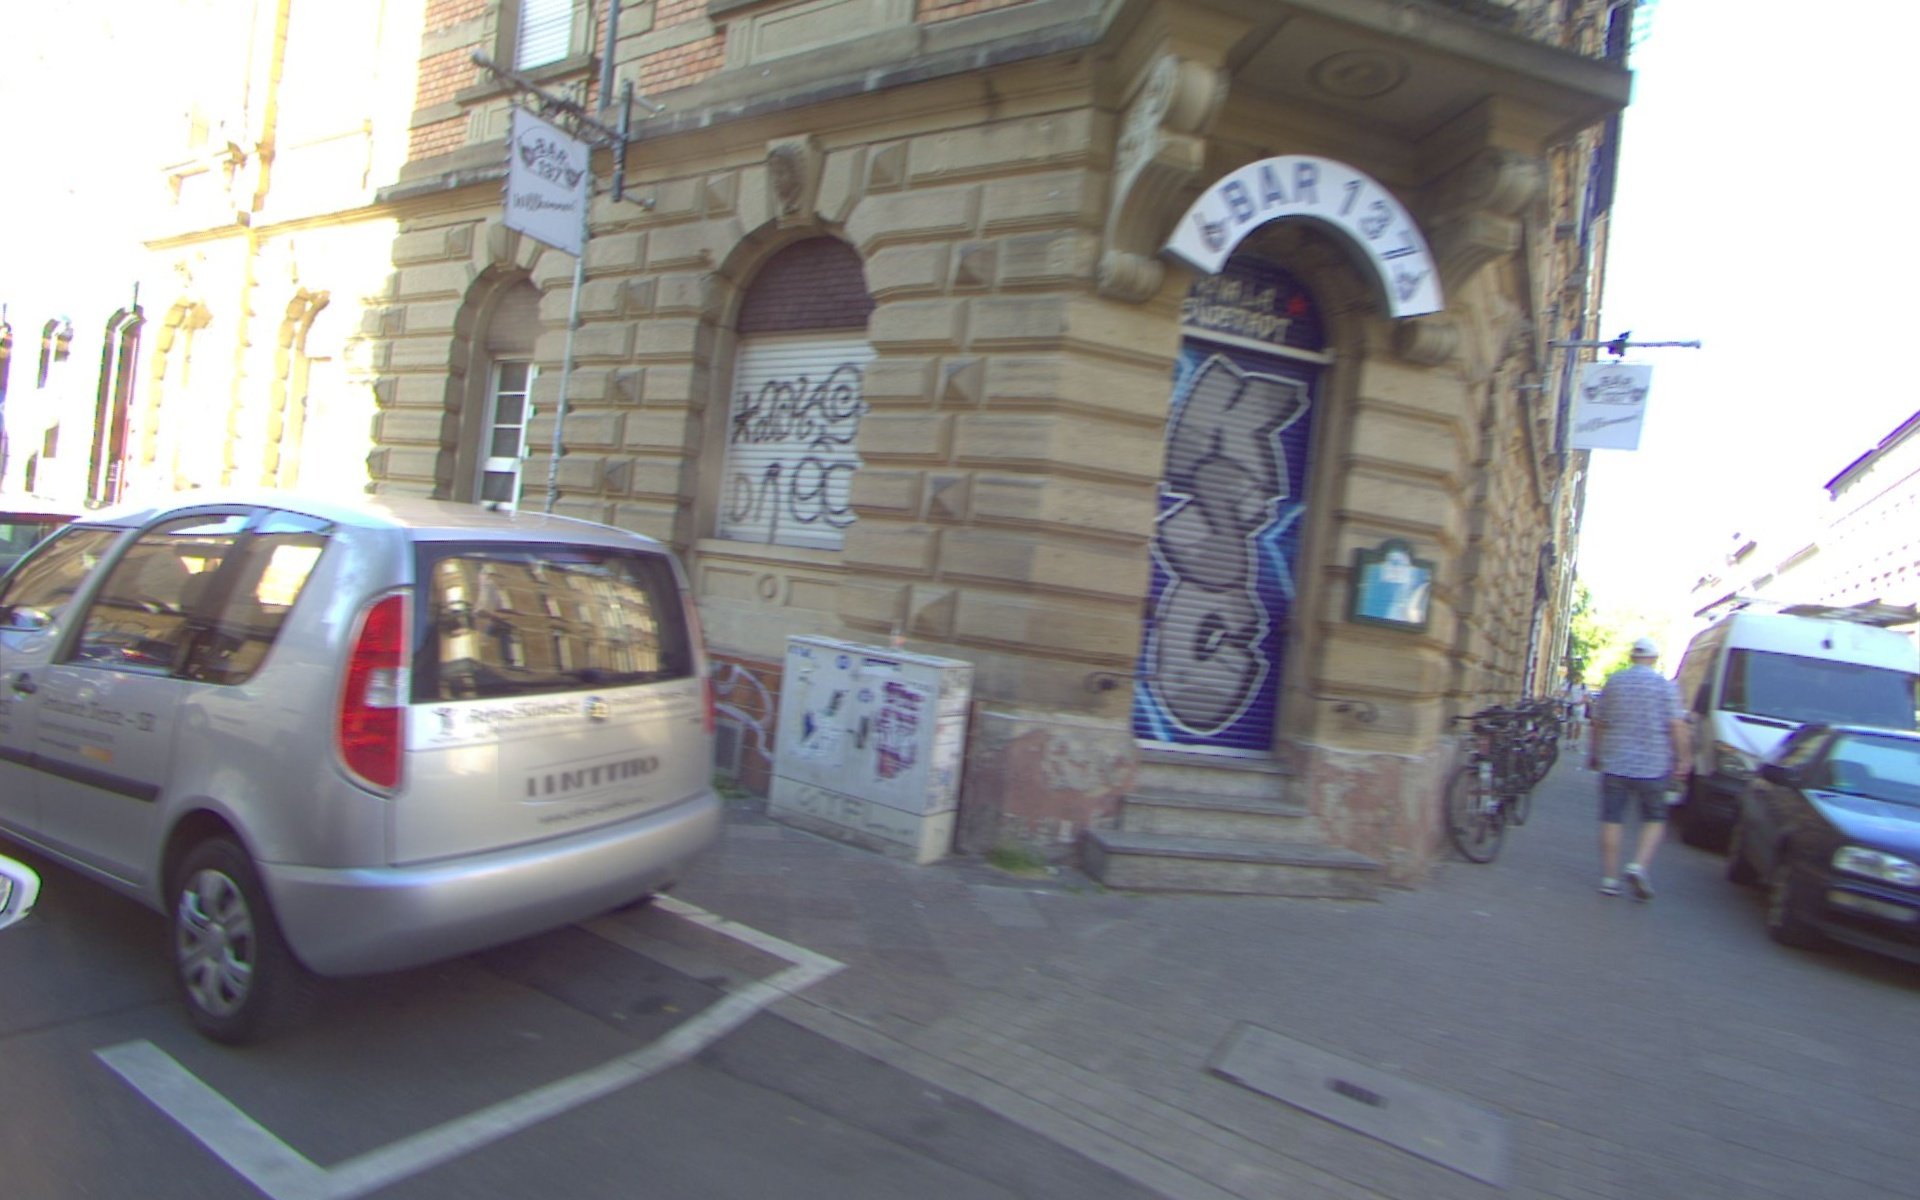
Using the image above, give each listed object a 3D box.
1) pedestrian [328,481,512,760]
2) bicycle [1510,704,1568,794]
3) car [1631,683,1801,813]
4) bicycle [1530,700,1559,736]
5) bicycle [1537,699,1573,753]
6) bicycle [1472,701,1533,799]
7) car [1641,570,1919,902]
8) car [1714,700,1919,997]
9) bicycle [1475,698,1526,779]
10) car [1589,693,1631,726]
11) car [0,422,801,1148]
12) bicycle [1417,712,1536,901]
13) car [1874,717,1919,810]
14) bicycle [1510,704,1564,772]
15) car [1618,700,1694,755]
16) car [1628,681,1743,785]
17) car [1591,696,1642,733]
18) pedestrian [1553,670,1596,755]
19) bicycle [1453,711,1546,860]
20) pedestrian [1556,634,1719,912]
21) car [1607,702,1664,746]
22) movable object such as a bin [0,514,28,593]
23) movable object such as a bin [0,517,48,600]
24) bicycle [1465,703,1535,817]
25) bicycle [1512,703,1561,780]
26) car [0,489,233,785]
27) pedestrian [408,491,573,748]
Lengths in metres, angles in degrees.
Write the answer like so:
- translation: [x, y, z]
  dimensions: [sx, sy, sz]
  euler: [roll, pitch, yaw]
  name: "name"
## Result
- translation: [-3.425, 0.121, 6.389]
  dimensions: [0.715, 1.624, 0.591]
  euler: [8, 1, 30]
  name: "pedestrian"
- translation: [7.933, 2.010, 13.822]
  dimensions: [0.525, 1.067, 1.779]
  euler: [7, -1, 29]
  name: "bicycle"
- translation: [12.815, 2.445, 17.290]
  dimensions: [1.704, 1.703, 3.988]
  euler: [8, -1, 31]
  name: "car"
- translation: [19.175, 3.876, 33.007]
  dimensions: [0.526, 1.067, 1.776]
  euler: [7, -1, 37]
  name: "bicycle"
- translation: [14.653, 3.078, 24.748]
  dimensions: [0.581, 1.195, 1.505]
  euler: [7, -1, 33]
  name: "bicycle"
- translation: [6.845, 1.847, 12.698]
  dimensions: [0.525, 1.067, 1.779]
  euler: [7, -1, 29]
  name: "bicycle"
- translation: [9.710, 1.497, 11.895]
  dimensions: [2.032, 2.682, 6.820]
  euler: [10, 0, 32]
  name: "car"
- translation: [6.408, 1.561, 6.730]
  dimensions: [1.705, 1.469, 3.986]
  euler: [8, -1, 33]
  name: "car"
- translation: [8.114, 2.045, 15.110]
  dimensions: [0.525, 1.067, 1.779]
  euler: [7, -1, 29]
  name: "bicycle"
- translation: [34.415, 5.795, 53.329]
  dimensions: [1.574, 1.442, 3.863]
  euler: [7, -1, 32]
  name: "car"
- translation: [-2.795, 0.328, 4.155]
  dimensions: [3.871, 1.735, 1.706]
  euler: [7, 0, 30]
  name: "car"
- translation: [3.674, 1.370, 7.082]
  dimensions: [0.525, 1.067, 1.778]
  euler: [7, -1, 31]
  name: "bicycle"
- translation: [22.539, 3.805, 22.987]
  dimensions: [1.512, 1.995, 4.022]
  euler: [7, -1, 32]
  name: "car"
- translation: [10.283, 2.436, 17.900]
  dimensions: [0.526, 1.067, 1.776]
  euler: [7, -1, 37]
  name: "bicycle"
- translation: [22.275, 4.028, 32.328]
  dimensions: [1.574, 1.406, 3.994]
  euler: [7, -1, 31]
  name: "car"
- translation: [16.120, 2.922, 22.538]
  dimensions: [1.705, 1.849, 4.435]
  euler: [8, -1, 34]
  name: "car"
- translation: [31.730, 5.503, 48.728]
  dimensions: [1.738, 1.442, 4.872]
  euler: [7, -1, 32]
  name: "car"
- translation: [15.047, 2.744, 24.640]
  dimensions: [0.661, 1.961, 0.662]
  euler: [7, 0, 32]
  name: "pedestrian"
- translation: [4.699, 1.539, 8.706]
  dimensions: [0.525, 1.067, 1.778]
  euler: [7, -1, 31]
  name: "bicycle"
- translation: [4.666, 1.163, 6.932]
  dimensions: [0.658, 1.754, 0.569]
  euler: [6, 2, -39]
  name: "pedestrian"
- translation: [26.996, 4.930, 40.299]
  dimensions: [1.574, 1.442, 3.863]
  euler: [7, -1, 32]
  name: "car"
- translation: [-13.580, -0.666, 14.049]
  dimensions: [0.592, 1.067, 0.549]
  euler: [7, 2, 14]
  name: "movable object such as a bin"
- translation: [-12.930, -0.564, 13.619]
  dimensions: [0.592, 1.067, 0.549]
  euler: [6, 2, -1]
  name: "movable object such as a bin"
- translation: [5.957, 1.718, 11.101]
  dimensions: [0.525, 1.067, 1.779]
  euler: [7, -1, 29]
  name: "bicycle"
- translation: [9.237, 2.240, 16.148]
  dimensions: [0.525, 1.067, 1.779]
  euler: [7, -1, 29]
  name: "bicycle"
- translation: [-6.407, 0.030, 6.331]
  dimensions: [3.619, 1.531, 1.538]
  euler: [7, 0, 30]
  name: "car"
- translation: [-3.256, 0.131, 6.984]
  dimensions: [0.722, 1.642, 0.574]
  euler: [8, 1, 30]
  name: "pedestrian"
